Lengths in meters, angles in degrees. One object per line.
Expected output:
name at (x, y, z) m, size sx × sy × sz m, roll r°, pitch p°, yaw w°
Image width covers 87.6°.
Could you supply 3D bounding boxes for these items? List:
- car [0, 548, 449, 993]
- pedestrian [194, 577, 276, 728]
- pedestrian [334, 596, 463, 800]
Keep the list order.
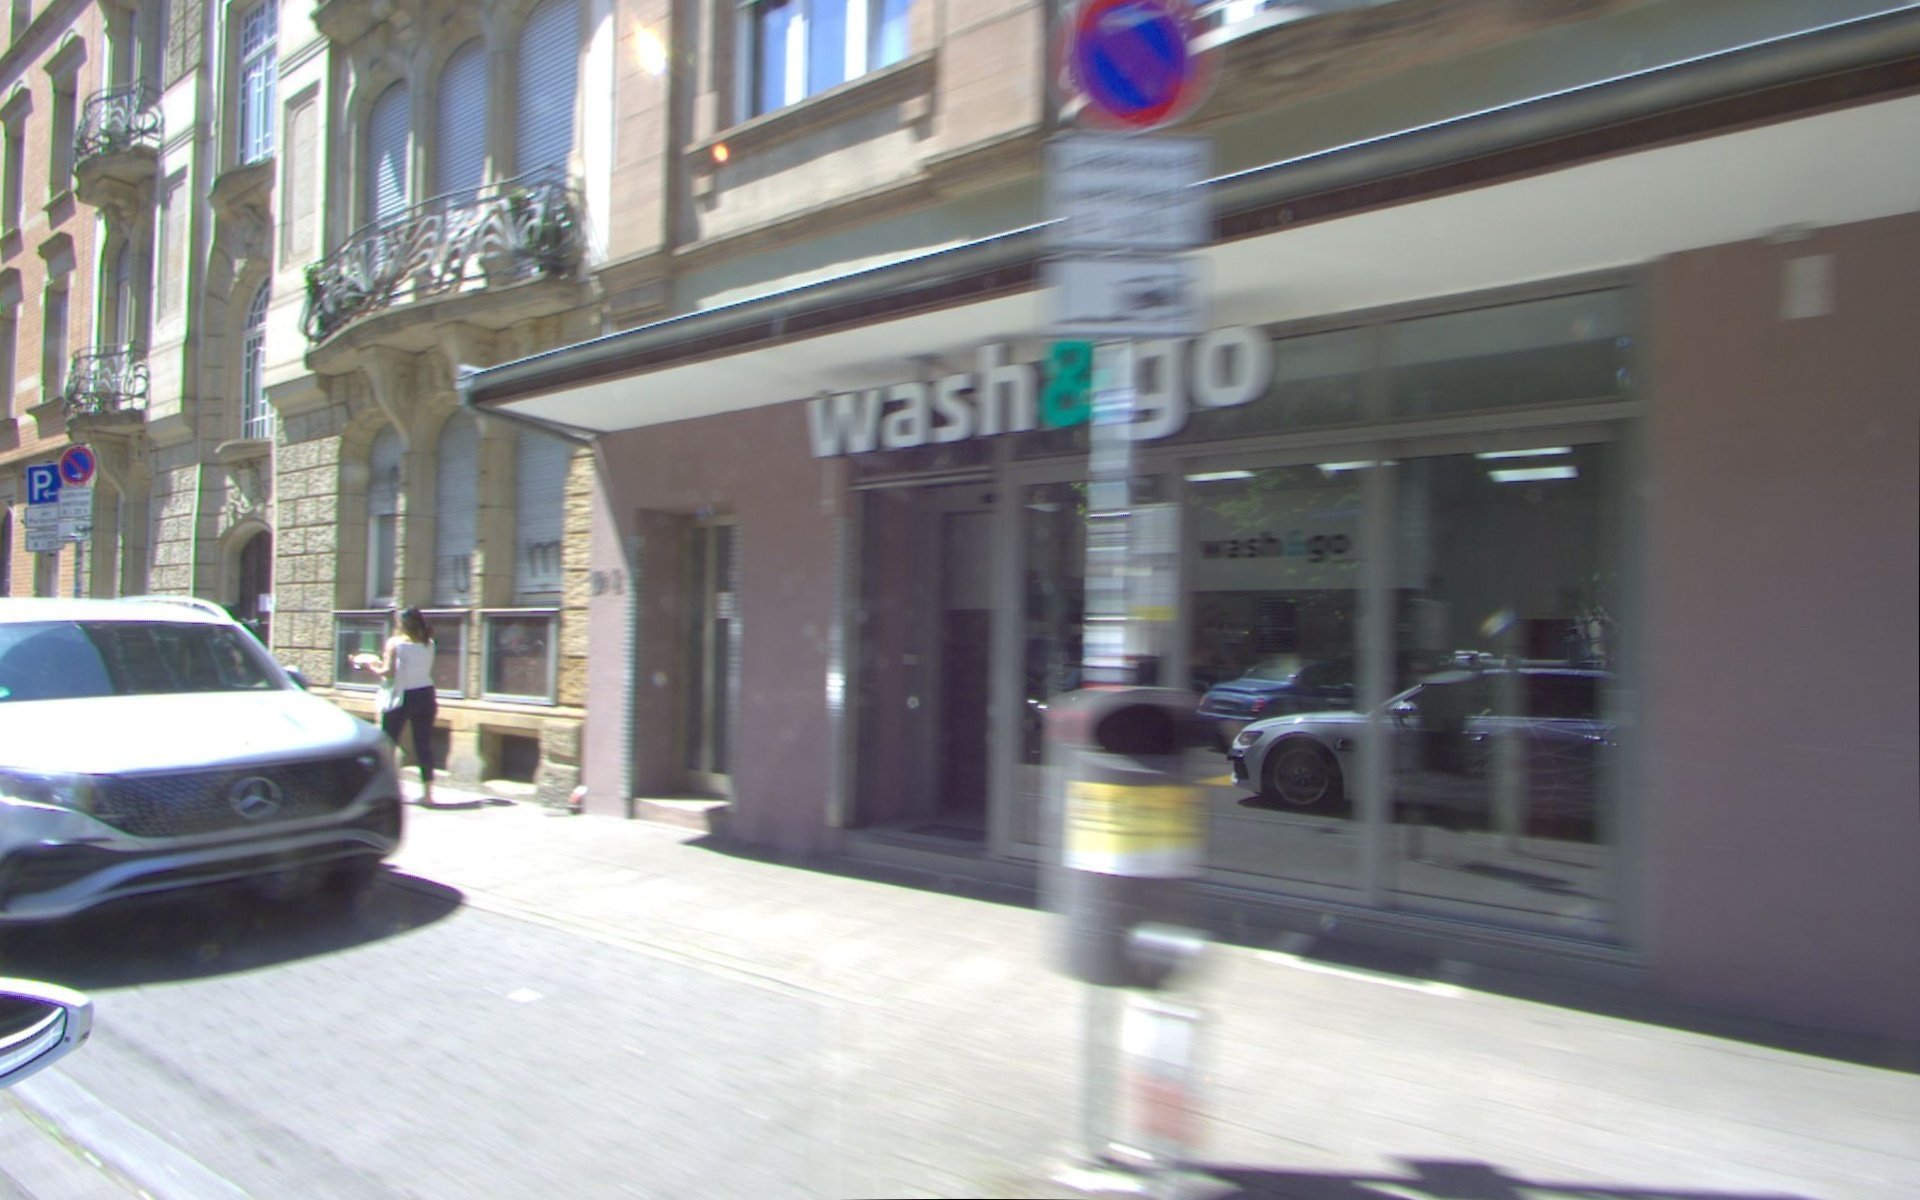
car at (-5.082, 0.708, 5.873) m, size 4.443 × 1.735 × 1.867 m, roll -1°, pitch -1°, yaw 35°
pedestrian at (-8.784, 0.615, 12.138) m, size 0.737 × 1.773 × 0.512 m, roll 1°, pitch 0°, yaw 27°
pedestrian at (-4.823, 0.811, 8.608) m, size 0.793 × 1.644 × 0.640 m, roll 0°, pitch -2°, yaw 34°
